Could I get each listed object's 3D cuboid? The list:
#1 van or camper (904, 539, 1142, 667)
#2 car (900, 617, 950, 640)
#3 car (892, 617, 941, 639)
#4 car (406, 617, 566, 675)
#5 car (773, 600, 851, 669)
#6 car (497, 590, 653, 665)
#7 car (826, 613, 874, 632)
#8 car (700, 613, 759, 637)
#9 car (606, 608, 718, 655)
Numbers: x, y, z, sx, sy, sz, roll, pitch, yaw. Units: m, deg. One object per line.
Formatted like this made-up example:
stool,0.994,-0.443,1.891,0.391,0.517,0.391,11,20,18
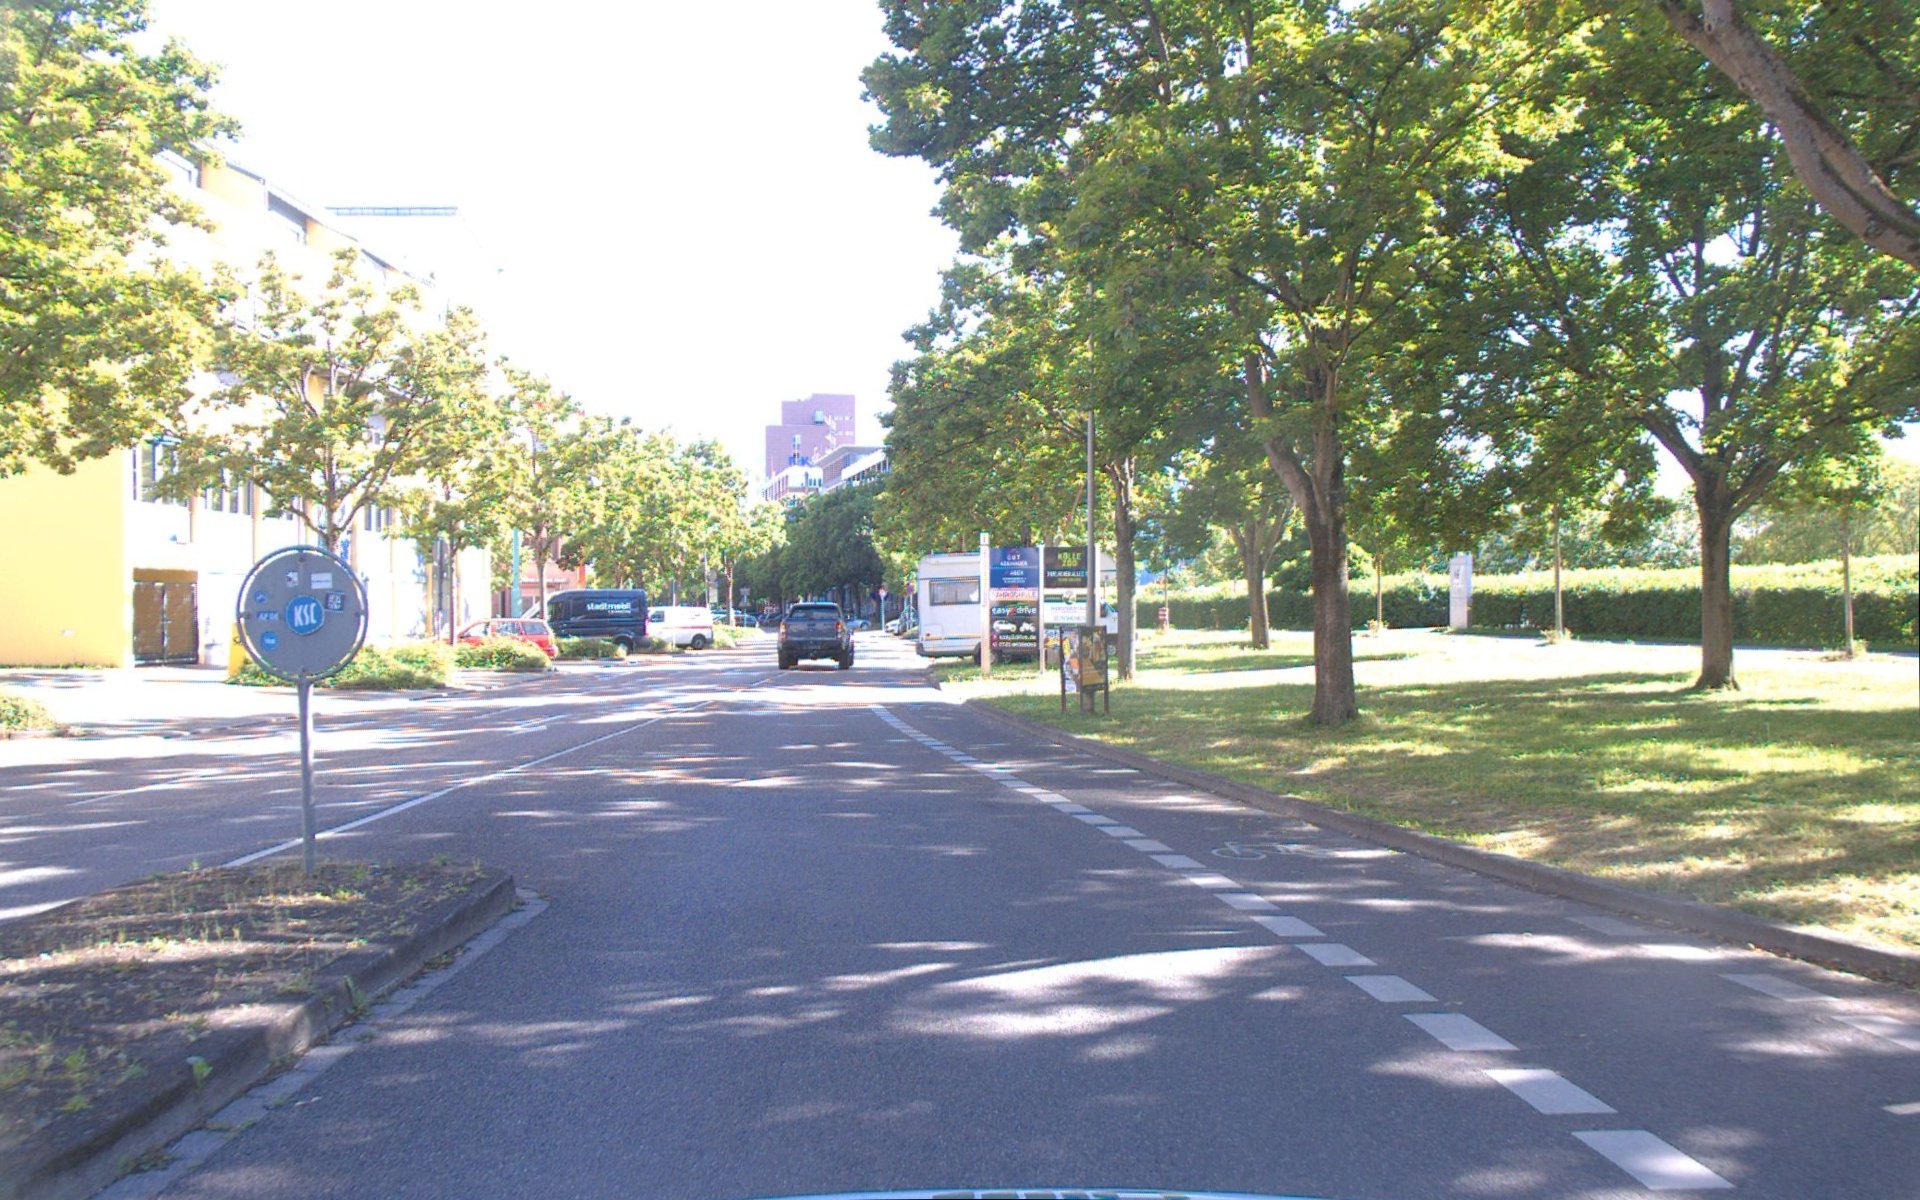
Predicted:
van or camper,1.575,0.081,43.408,5.957,2.980,2.574,-3,-1,-2
car,-2.260,1.824,106.388,3.179,1.300,1.515,-3,0,-3
car,-2.940,1.850,110.563,3.179,1.300,1.515,-3,0,-3
car,-14.119,1.339,49.273,4.353,1.579,1.905,-1,-1,-26
car,-4.242,0.948,47.513,2.091,1.867,4.935,0,0,-5
car,-13.953,0.961,59.989,5.198,2.590,1.968,-1,-1,-27
car,-9.326,1.937,140.621,3.876,1.421,1.512,-3,0,-10
car,-15.361,1.677,110.265,3.813,1.389,1.406,-3,0,-11
car,-14.067,1.455,78.141,4.846,2.119,1.960,-1,-1,-36
